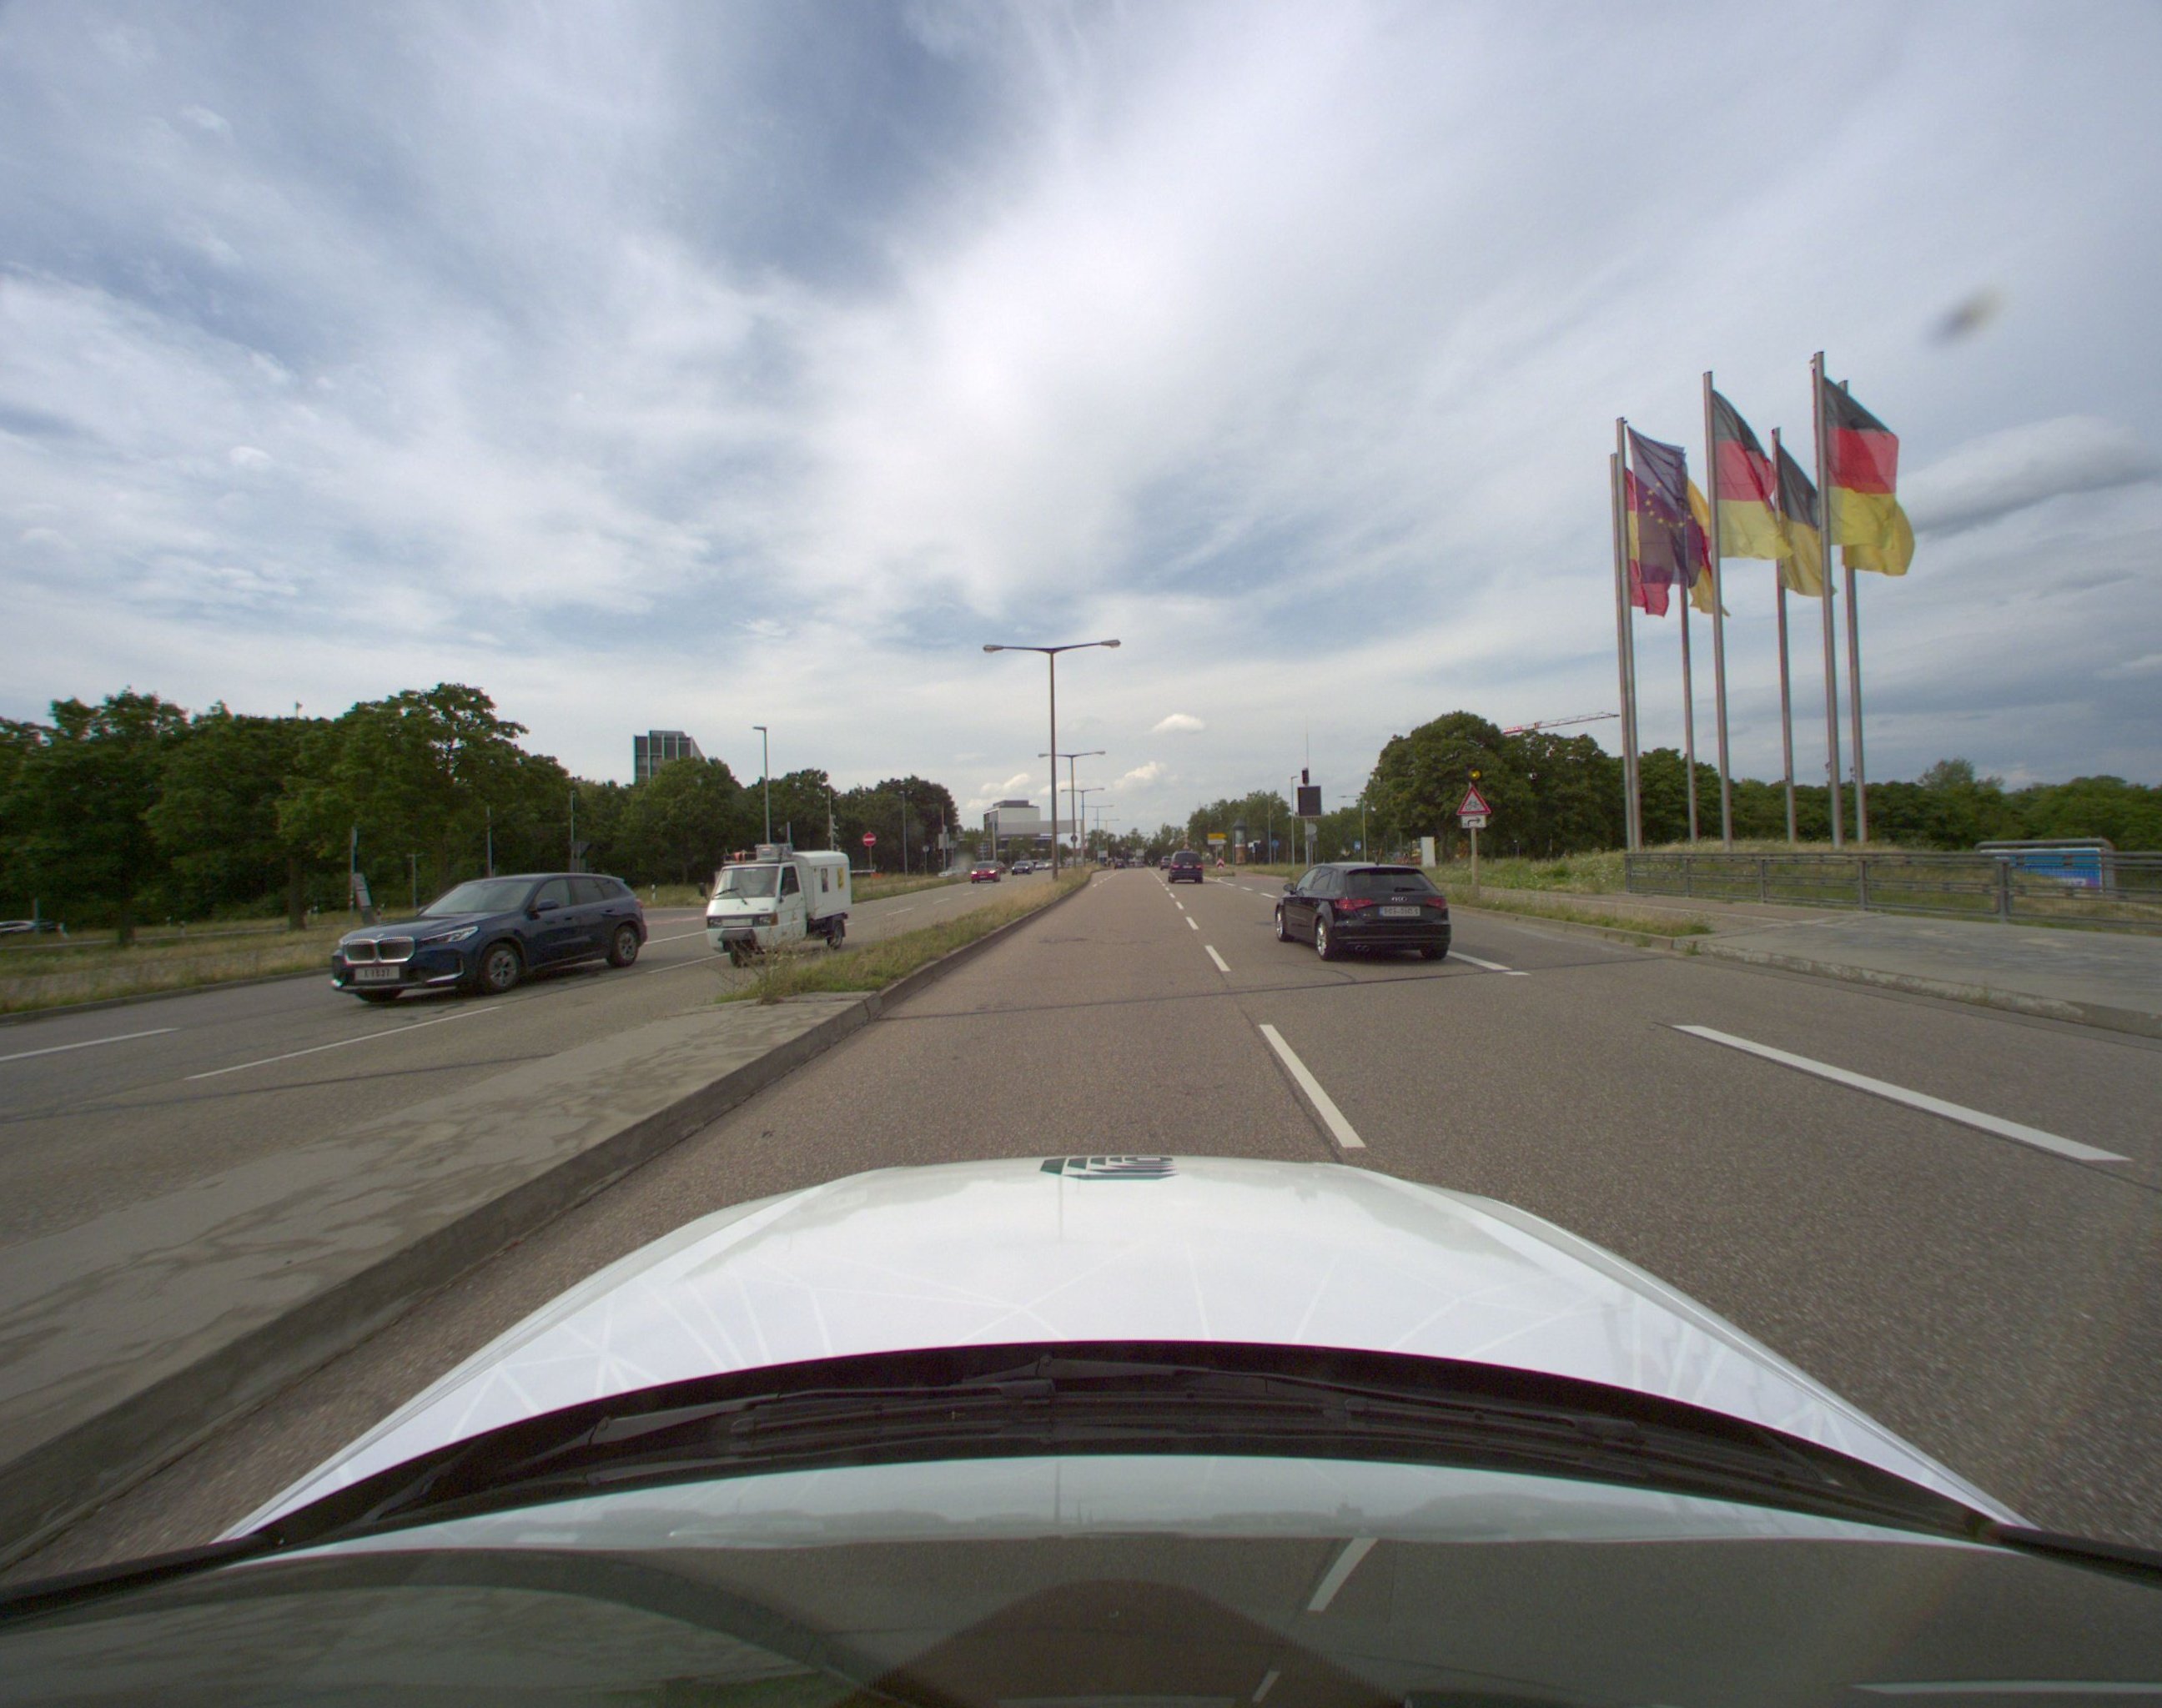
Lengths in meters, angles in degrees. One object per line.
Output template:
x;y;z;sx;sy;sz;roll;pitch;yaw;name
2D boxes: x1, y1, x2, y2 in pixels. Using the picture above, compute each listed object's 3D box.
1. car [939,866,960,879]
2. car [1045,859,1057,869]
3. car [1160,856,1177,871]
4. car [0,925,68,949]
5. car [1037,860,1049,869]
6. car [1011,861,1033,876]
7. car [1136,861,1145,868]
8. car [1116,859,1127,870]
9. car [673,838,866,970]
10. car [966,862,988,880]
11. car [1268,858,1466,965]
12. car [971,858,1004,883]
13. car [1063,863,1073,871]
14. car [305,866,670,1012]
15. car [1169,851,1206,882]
-14.375;2.034;89.041;1.260;1.273;3.019;-3;0;11;car
-4.897;1.619;132.762;1.739;1.598;4.566;-3;0;1;car
10.348;1.121;96.445;1.723;1.653;4.118;-1;0;3;car
-76.218;6.027;58.699;3.868;1.396;1.568;-3;0;-11;car
-6.718;1.836;143.948;1.658;1.419;4.097;-3;1;4;car
-6.177;1.478;85.974;1.738;1.475;4.567;-3;0;2;car
12.392;2.196;170.317;1.723;1.526;4.118;-1;0;3;car
6.416;1.688;130.169;1.723;1.653;4.118;-1;0;3;car
-5.069;0.727;13.776;1.532;1.871;3.575;-3;0;5;car
-12.626;2.072;99.378;1.985;2.013;4.003;-1;0;3;car
4.243;0.770;12.790;1.724;1.395;4.115;0;0;1;car
-6.707;1.177;58.874;1.645;1.574;4.340;-4;0;2;car
-2.726;2.697;173.324;1.785;1.525;4.598;-4;-1;4;car
-8.417;1.076;12.231;1.738;1.585;4.593;-3;0;5;car
5.834;0.669;44.974;1.723;1.653;4.118;-1;0;3;car
